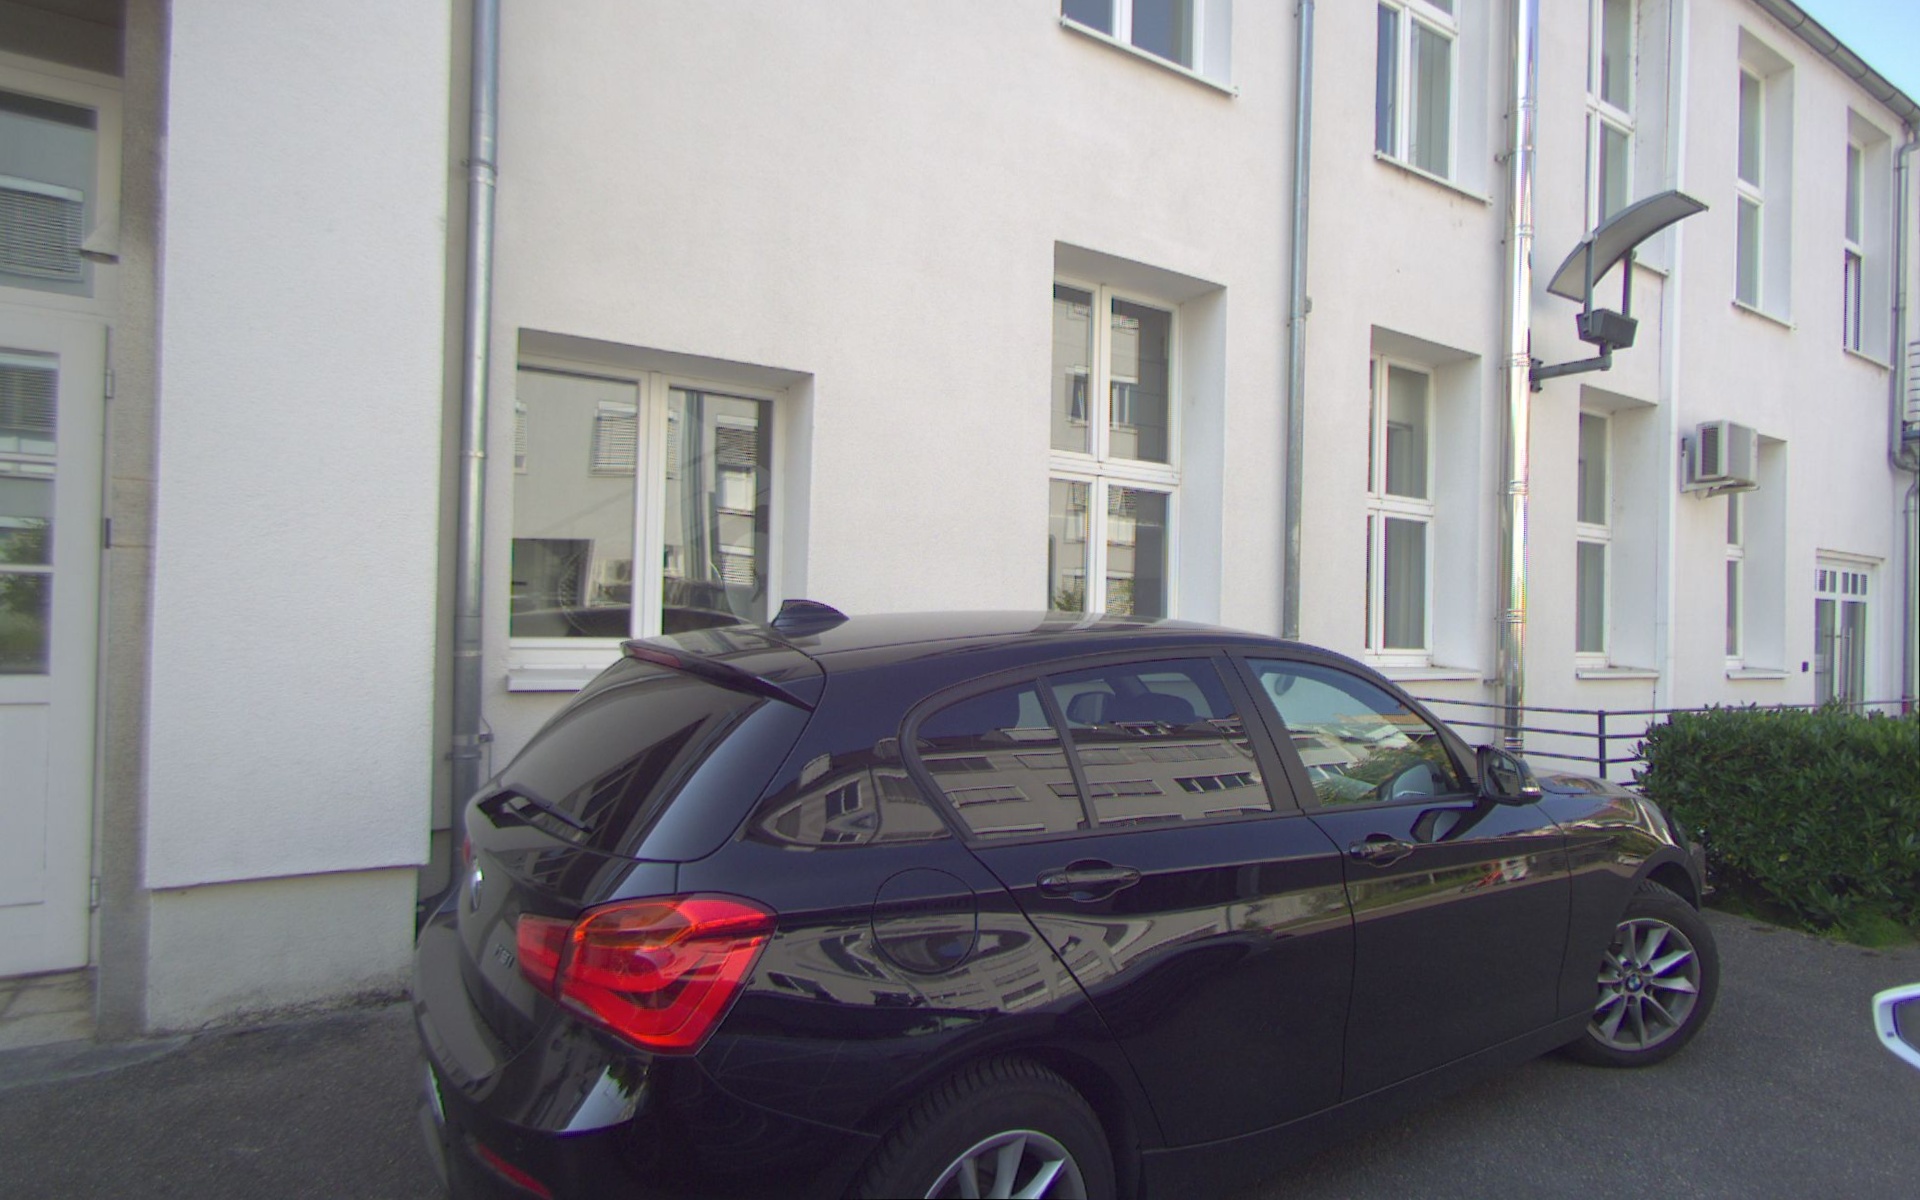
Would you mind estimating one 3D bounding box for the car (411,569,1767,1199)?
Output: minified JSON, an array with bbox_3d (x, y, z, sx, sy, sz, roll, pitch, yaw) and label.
[{"bbox_3d":[0.679,0.730,3.178,4.093,1.447,1.782,2,0,-34],"label":"car"}]
